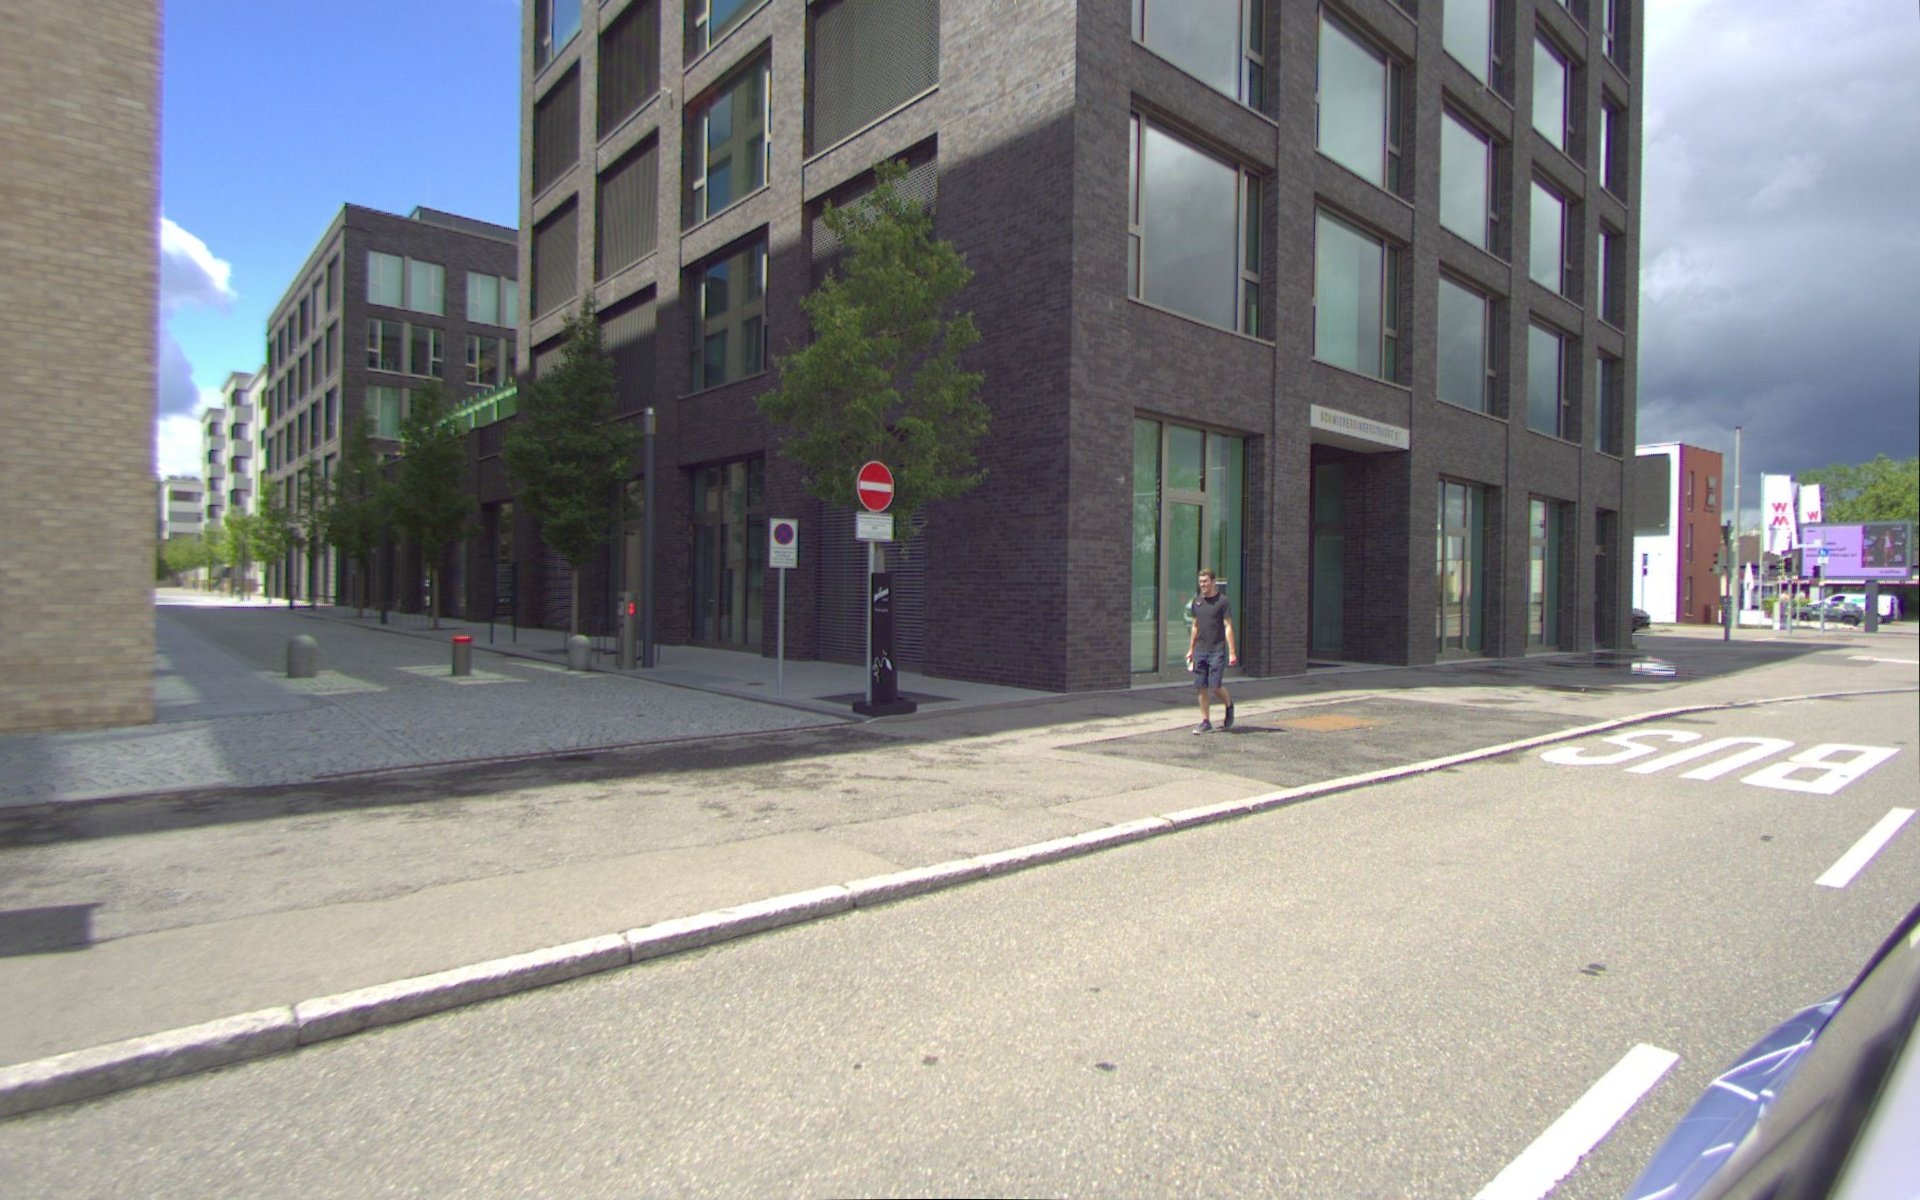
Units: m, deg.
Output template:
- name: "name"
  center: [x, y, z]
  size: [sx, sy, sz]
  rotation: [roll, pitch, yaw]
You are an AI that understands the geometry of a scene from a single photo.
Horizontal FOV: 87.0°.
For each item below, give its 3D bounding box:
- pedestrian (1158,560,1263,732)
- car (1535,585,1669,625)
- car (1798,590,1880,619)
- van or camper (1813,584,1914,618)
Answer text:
- name: "pedestrian"
  center: [2.689, 0.462, 10.852]
  size: [0.945, 1.750, 0.684]
  rotation: [1, 0, -41]
- name: "car"
  center: [28.448, 0.188, 44.934]
  size: [1.965, 1.639, 4.649]
  rotation: [1, 1, -40]
- name: "car"
  center: [56.681, 0.247, 65.308]
  size: [1.729, 1.503, 3.680]
  rotation: [0, 5, -37]
- name: "van or camper"
  center: [62.730, 0.038, 70.339]
  size: [2.172, 1.981, 4.912]
  rotation: [-1, 4, -39]
